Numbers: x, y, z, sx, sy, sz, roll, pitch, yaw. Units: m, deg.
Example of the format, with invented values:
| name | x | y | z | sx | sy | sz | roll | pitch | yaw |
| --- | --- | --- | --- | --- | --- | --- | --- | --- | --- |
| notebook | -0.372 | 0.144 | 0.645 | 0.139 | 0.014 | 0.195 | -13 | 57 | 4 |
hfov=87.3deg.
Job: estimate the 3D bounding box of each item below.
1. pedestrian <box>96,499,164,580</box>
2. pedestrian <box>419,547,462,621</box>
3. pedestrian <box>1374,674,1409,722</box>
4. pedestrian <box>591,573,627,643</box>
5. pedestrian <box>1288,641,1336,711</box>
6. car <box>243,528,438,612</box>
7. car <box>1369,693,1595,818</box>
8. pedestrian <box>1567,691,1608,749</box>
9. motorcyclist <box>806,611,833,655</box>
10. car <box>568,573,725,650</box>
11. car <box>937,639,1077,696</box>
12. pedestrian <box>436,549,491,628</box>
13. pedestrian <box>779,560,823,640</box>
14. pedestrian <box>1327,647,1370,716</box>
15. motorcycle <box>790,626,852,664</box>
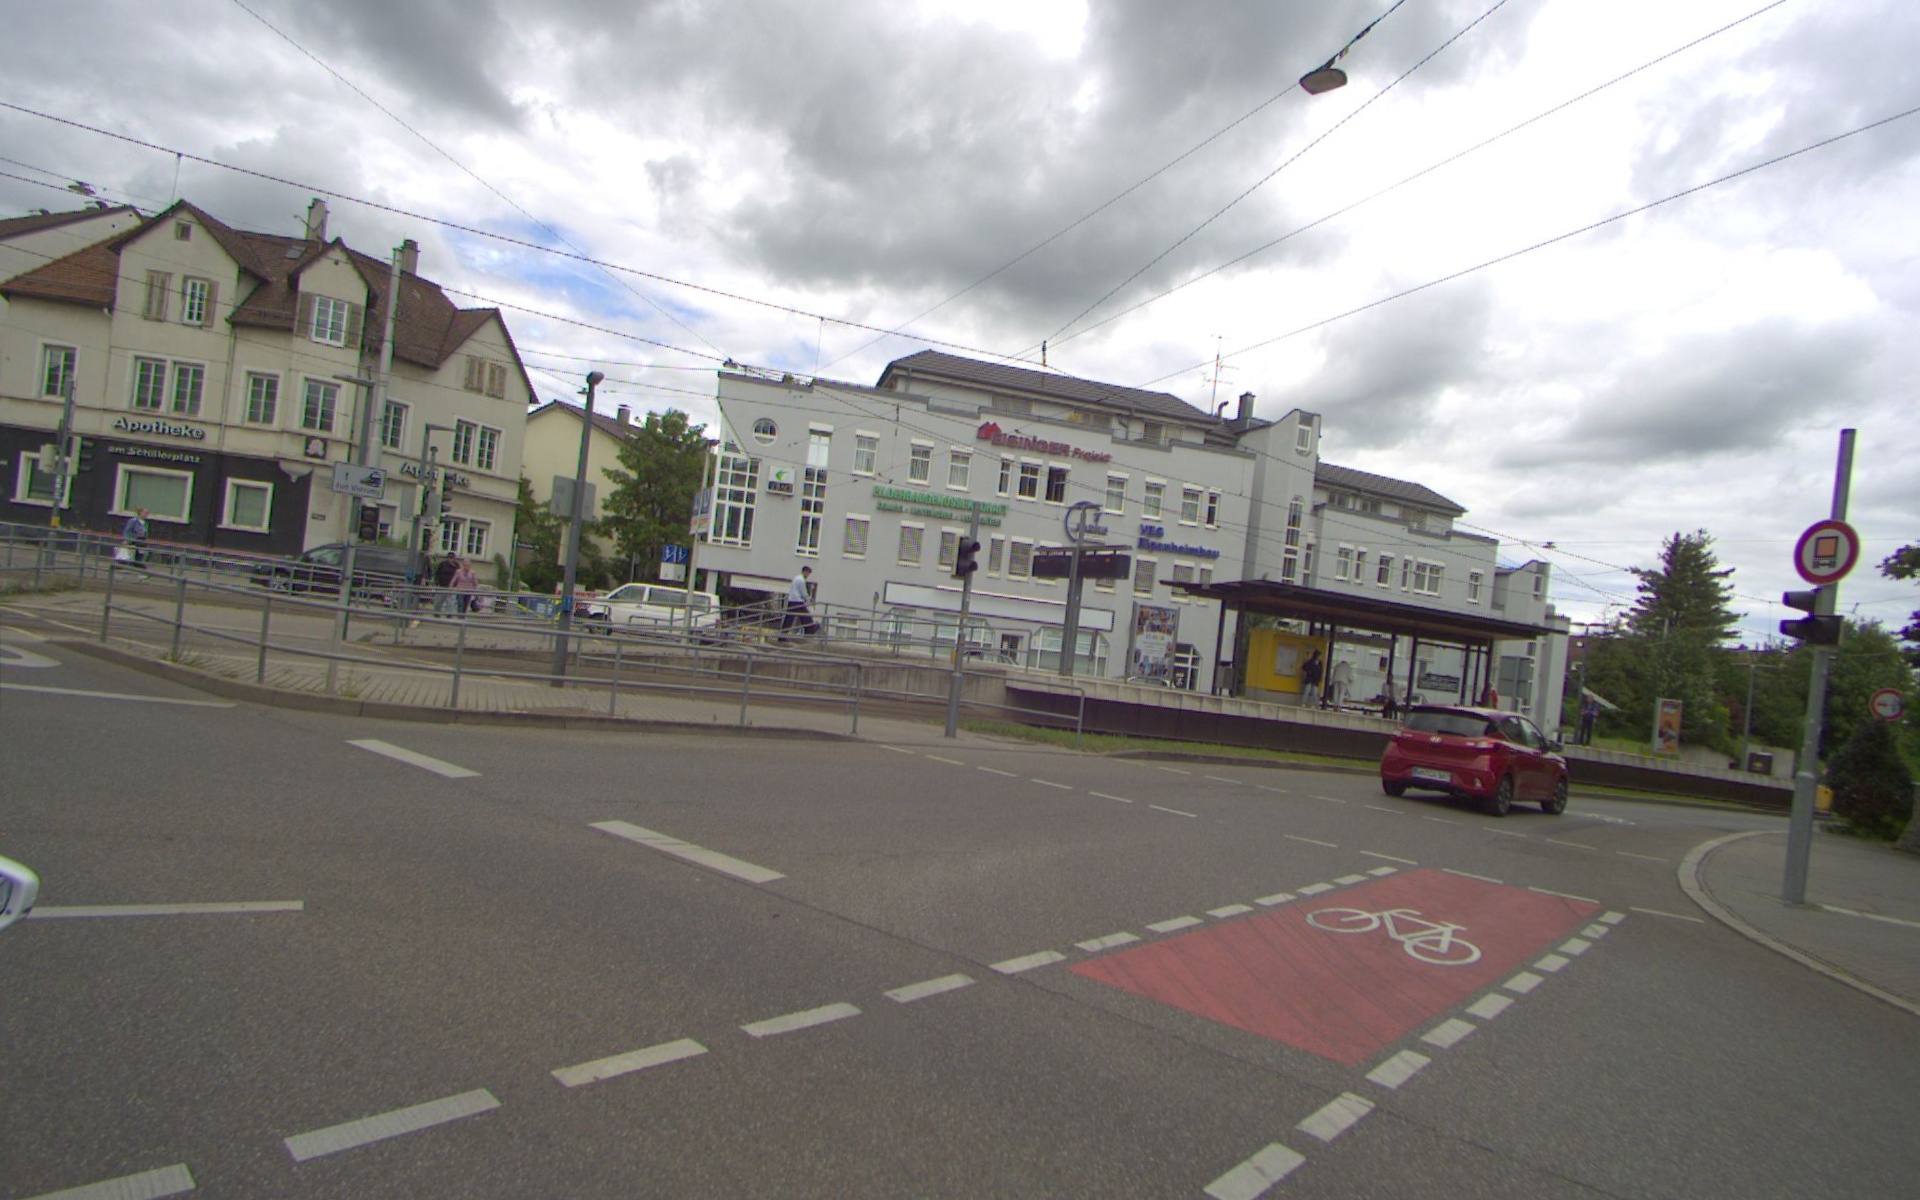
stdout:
| name | x | y | z | sx | sy | sz | roll | pitch | yaw |
| --- | --- | --- | --- | --- | --- | --- | --- | --- | --- |
| pedestrian | -19.456 | -1.402 | 23.601 | 0.714 | 1.739 | 0.843 | 7 | 0 | 21 |
| pedestrian | -12.891 | -0.404 | 24.968 | 0.698 | 1.739 | 0.643 | 7 | 0 | -36 |
| pedestrian | 12.558 | 2.842 | 29.293 | 0.582 | 1.279 | 0.567 | 9 | -1 | -25 |
| pedestrian | -9.209 | 0.200 | 26.429 | 0.641 | 1.737 | 0.786 | 8 | -1 | -19 |
| pedestrian | 9.406 | 2.021 | 26.893 | 0.781 | 1.737 | 0.685 | 9 | -2 | -30 |
| car | -18.756 | -0.838 | 30.721 | 4.634 | 1.841 | 1.856 | 8 | -3 | -22 |
| car | 8.108 | 2.412 | 15.469 | 3.976 | 1.468 | 1.684 | 10 | -3 | -42 |
| pedestrian | 20.368 | 3.894 | 32.641 | 0.685 | 1.737 | 0.781 | 9 | -2 | -39 |
| motorcyclist | -4.905 | 1.148 | 35.082 | 0.682 | 1.410 | 0.762 | 7 | -2 | -15 |
| car | -10.451 | 0.422 | 33.840 | 4.711 | 1.940 | 1.985 | 8 | -2 | -16 |
| car | 1.737 | 2.491 | 37.389 | 4.711 | 1.487 | 1.985 | 8 | -3 | -16 |
| pedestrian | -11.835 | -0.275 | 23.967 | 0.641 | 1.737 | 0.786 | 7 | -2 | 42 |
| pedestrian | -3.622 | -0.003 | 22.915 | 0.641 | 1.739 | 0.700 | 7 | 0 | -24 |
| pedestrian | 10.808 | 2.261 | 27.987 | 0.776 | 1.795 | 0.689 | 7 | -2 | 34 |
| motorcycle | -4.858 | 1.574 | 35.100 | 1.950 | 1.085 | 0.762 | 8 | -2 | -16 |
